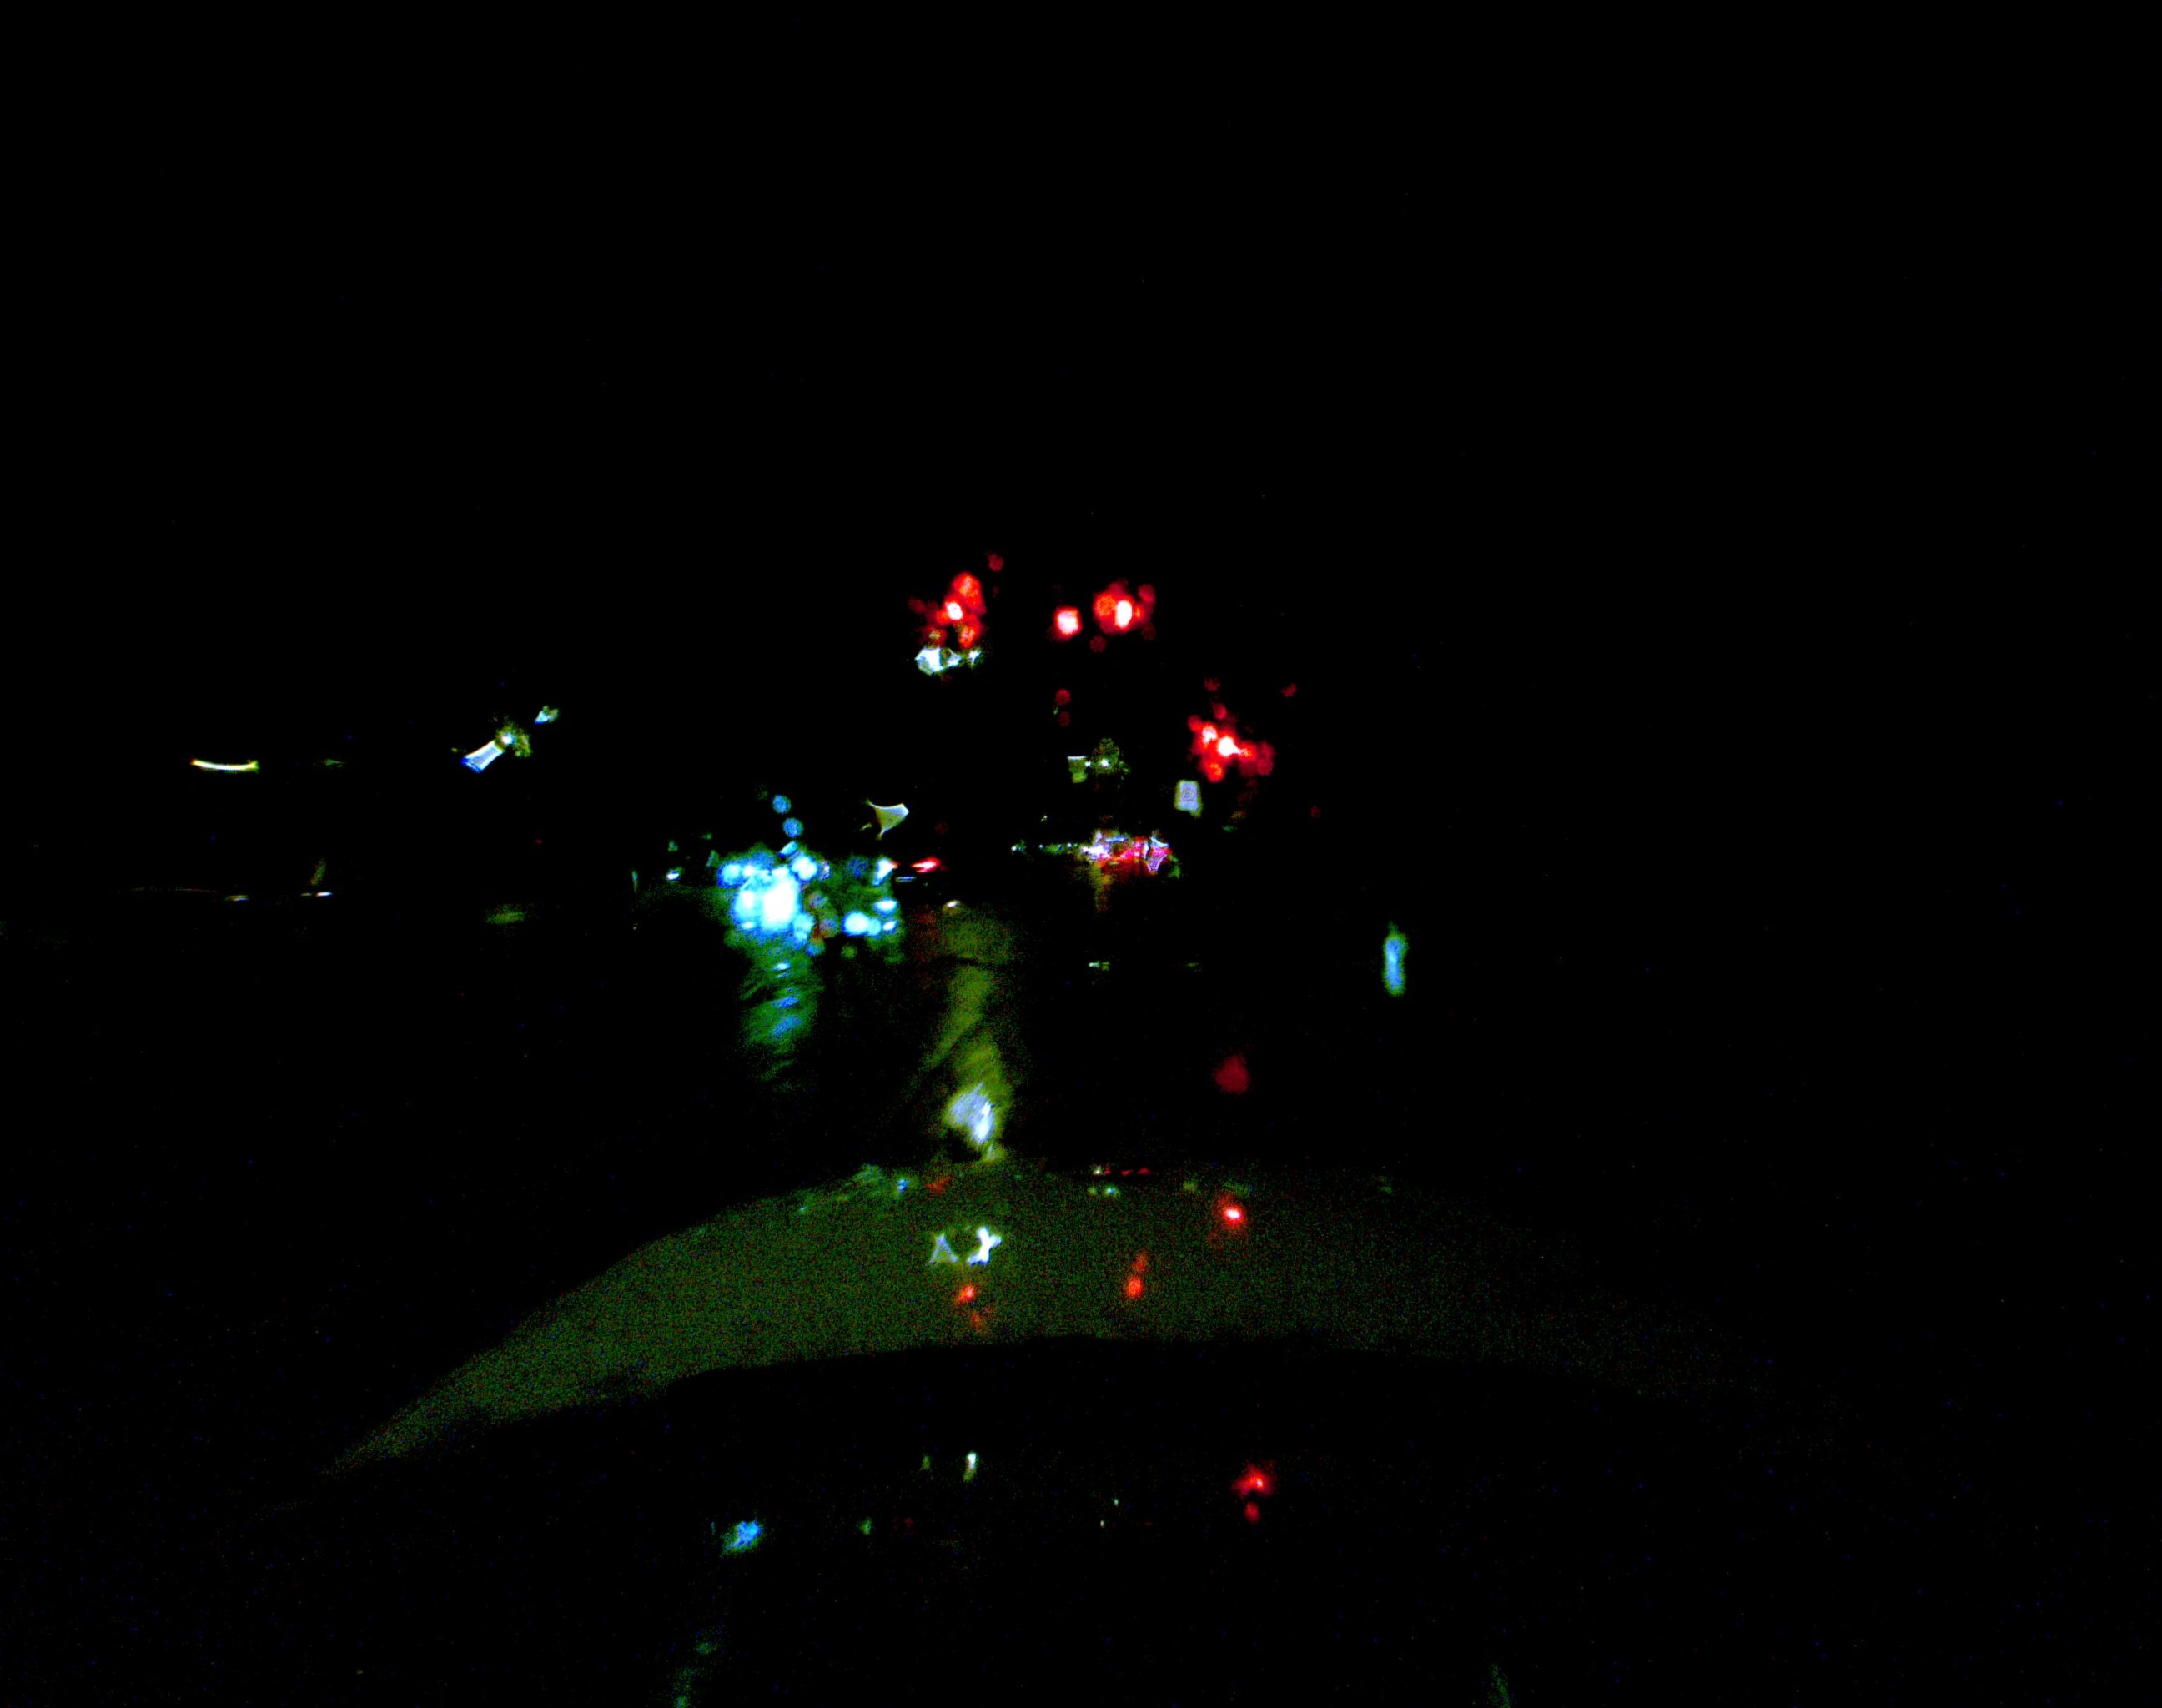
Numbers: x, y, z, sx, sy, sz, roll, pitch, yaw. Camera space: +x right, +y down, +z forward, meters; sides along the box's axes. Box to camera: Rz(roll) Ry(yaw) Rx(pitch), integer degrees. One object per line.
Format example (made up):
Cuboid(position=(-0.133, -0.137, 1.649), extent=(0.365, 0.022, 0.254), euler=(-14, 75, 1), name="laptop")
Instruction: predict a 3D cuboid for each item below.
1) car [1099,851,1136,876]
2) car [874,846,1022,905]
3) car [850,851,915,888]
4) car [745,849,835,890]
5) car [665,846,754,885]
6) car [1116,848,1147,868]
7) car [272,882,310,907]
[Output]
Cuboid(position=(2.209, 0.557, 49.088), extent=(2.094, 1.439, 4.002), euler=(-1, -1, 2), name="car")
Cuboid(position=(-3.925, 0.611, 24.581), extent=(1.974, 1.610, 4.128), euler=(-2, -1, 40), name="car")
Cuboid(position=(-8.990, 0.655, 37.236), extent=(1.693, 1.571, 4.713), euler=(-1, 0, 1), name="car")
Cuboid(position=(-12.067, 0.593, 34.134), extent=(1.785, 1.571, 4.917), euler=(-1, 0, 3), name="car")
Cuboid(position=(-19.576, 0.580, 43.001), extent=(4.016, 1.831, 1.703), euler=(-2, 1, -34), name="car")
Cuboid(position=(3.564, 0.287, 58.243), extent=(2.098, 1.339, 4.297), euler=(-1, -1, 2), name="car")
Cuboid(position=(-54.369, 2.777, 56.080), extent=(1.668, 1.498, 4.321), euler=(-4, 0, -42), name="car")
